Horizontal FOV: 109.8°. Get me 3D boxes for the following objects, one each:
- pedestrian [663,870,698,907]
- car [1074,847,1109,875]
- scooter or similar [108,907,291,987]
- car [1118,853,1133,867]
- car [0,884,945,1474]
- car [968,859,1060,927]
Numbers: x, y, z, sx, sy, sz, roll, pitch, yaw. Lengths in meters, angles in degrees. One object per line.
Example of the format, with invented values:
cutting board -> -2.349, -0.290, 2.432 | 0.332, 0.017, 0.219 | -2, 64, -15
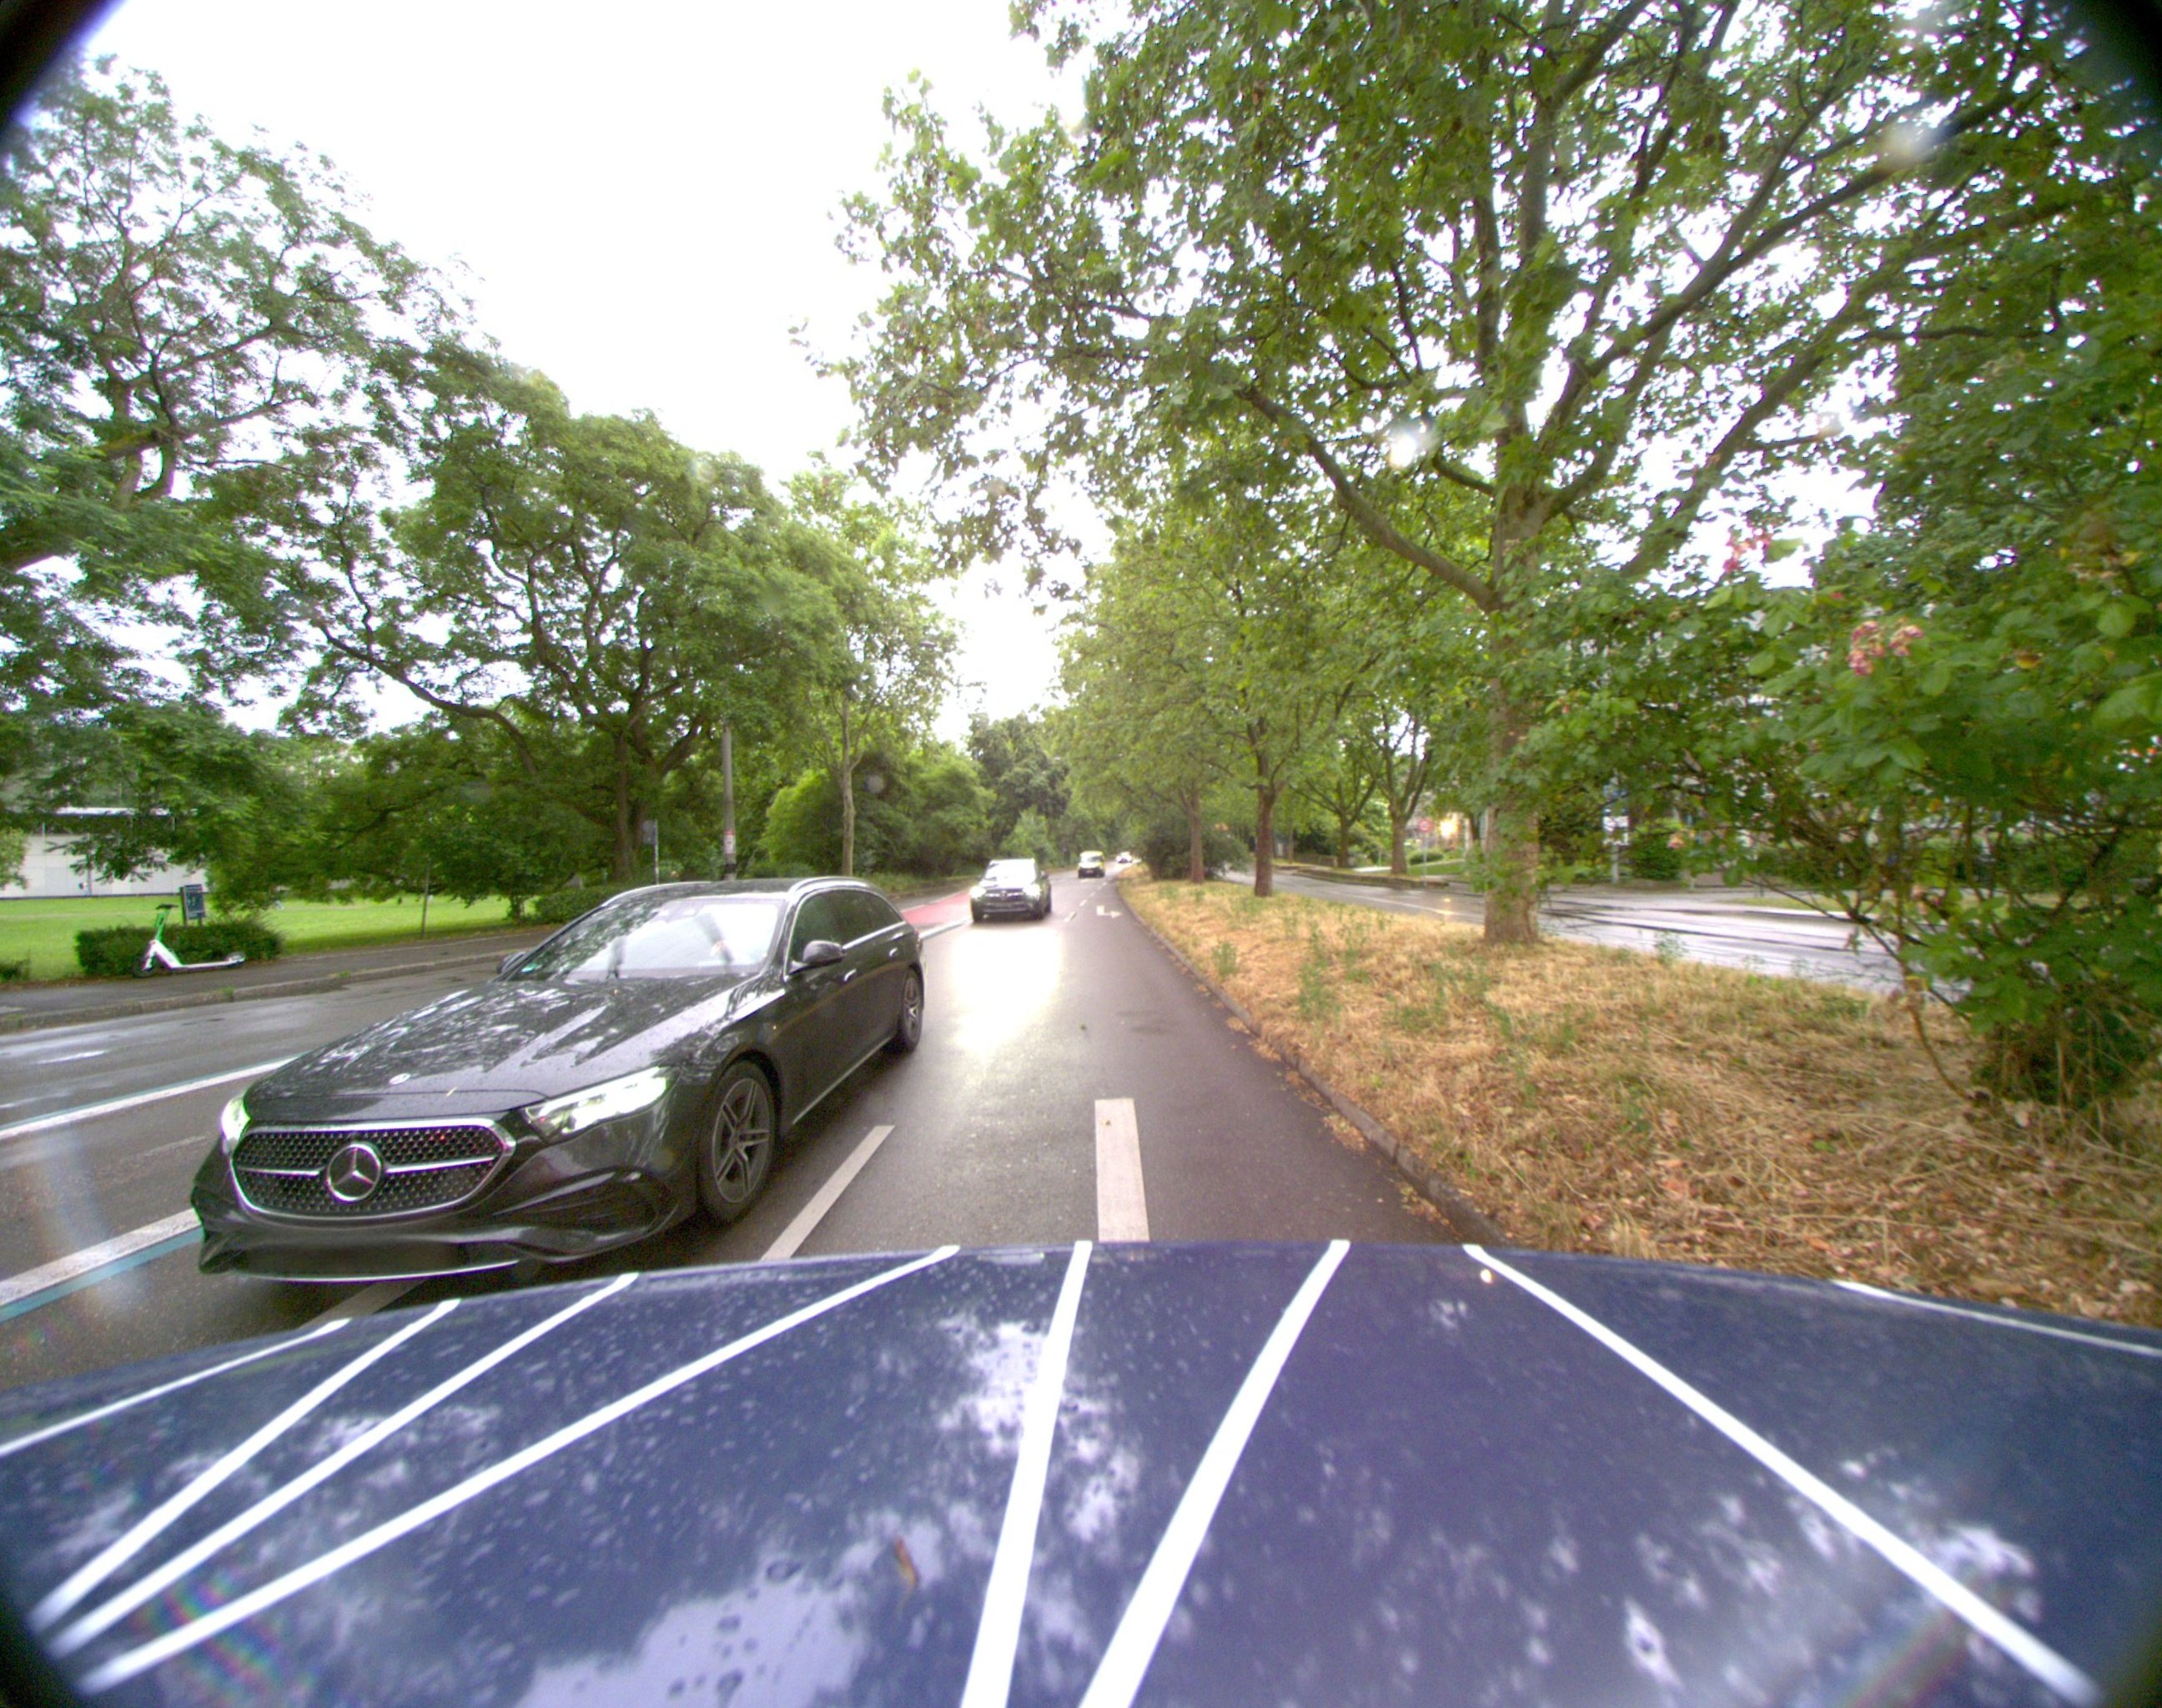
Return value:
pedestrian -> -18.582, 1.599, 35.246 | 1.068, 1.597, 1.060 | -1, 2, 42
car -> 0.820, 0.501, 55.319 | 1.883, 1.865, 4.744 | -3, 0, 7
scooter or similar -> -14.549, 1.489, 12.621 | 0.557, 1.095, 1.894 | 2, 0, 22
car -> 5.854, 0.755, 99.529 | 1.906, 1.766, 4.001 | -2, 0, 4
car -> -2.359, 1.040, 4.622 | 1.884, 1.437, 4.931 | -3, 0, 3
car -> -1.778, 1.015, 21.643 | 1.833, 1.599, 4.578 | -3, 0, 4
